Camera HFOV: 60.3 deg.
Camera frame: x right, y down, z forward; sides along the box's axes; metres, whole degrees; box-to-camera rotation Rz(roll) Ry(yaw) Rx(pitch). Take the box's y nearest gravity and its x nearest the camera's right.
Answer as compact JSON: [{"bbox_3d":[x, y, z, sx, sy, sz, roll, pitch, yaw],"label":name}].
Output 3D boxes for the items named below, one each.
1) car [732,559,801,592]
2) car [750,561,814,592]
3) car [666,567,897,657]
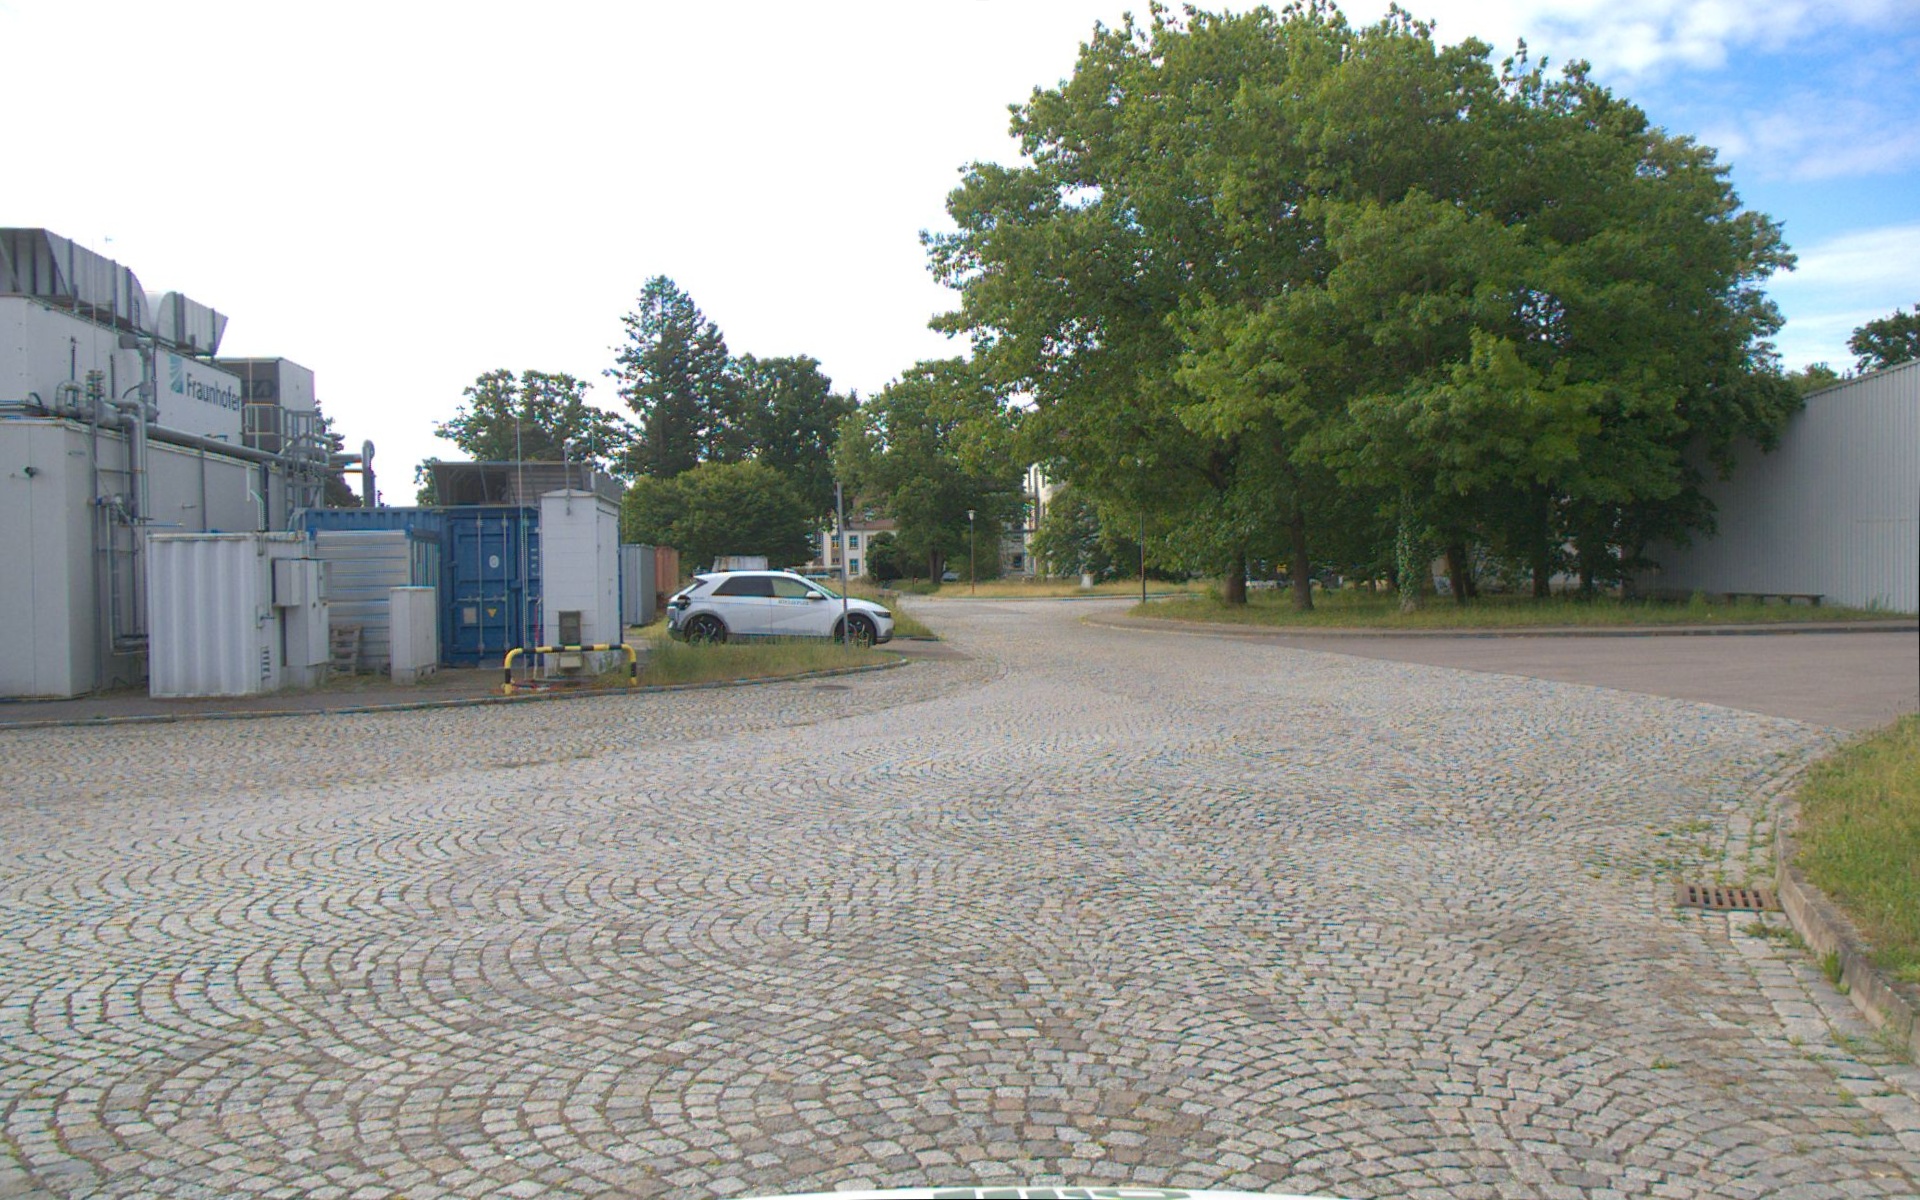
[{"bbox_3d":[-14.552,-1.837,124.472,5.072,2.378,1.997,-2,1,-7],"label":"car"},{"bbox_3d":[-14.432,-1.904,134.100,5.072,2.378,1.997,-2,1,-7],"label":"car"},{"bbox_3d":[-3.536,0.220,33.240,4.445,1.627,1.999,-1,1,-4],"label":"car"}]
